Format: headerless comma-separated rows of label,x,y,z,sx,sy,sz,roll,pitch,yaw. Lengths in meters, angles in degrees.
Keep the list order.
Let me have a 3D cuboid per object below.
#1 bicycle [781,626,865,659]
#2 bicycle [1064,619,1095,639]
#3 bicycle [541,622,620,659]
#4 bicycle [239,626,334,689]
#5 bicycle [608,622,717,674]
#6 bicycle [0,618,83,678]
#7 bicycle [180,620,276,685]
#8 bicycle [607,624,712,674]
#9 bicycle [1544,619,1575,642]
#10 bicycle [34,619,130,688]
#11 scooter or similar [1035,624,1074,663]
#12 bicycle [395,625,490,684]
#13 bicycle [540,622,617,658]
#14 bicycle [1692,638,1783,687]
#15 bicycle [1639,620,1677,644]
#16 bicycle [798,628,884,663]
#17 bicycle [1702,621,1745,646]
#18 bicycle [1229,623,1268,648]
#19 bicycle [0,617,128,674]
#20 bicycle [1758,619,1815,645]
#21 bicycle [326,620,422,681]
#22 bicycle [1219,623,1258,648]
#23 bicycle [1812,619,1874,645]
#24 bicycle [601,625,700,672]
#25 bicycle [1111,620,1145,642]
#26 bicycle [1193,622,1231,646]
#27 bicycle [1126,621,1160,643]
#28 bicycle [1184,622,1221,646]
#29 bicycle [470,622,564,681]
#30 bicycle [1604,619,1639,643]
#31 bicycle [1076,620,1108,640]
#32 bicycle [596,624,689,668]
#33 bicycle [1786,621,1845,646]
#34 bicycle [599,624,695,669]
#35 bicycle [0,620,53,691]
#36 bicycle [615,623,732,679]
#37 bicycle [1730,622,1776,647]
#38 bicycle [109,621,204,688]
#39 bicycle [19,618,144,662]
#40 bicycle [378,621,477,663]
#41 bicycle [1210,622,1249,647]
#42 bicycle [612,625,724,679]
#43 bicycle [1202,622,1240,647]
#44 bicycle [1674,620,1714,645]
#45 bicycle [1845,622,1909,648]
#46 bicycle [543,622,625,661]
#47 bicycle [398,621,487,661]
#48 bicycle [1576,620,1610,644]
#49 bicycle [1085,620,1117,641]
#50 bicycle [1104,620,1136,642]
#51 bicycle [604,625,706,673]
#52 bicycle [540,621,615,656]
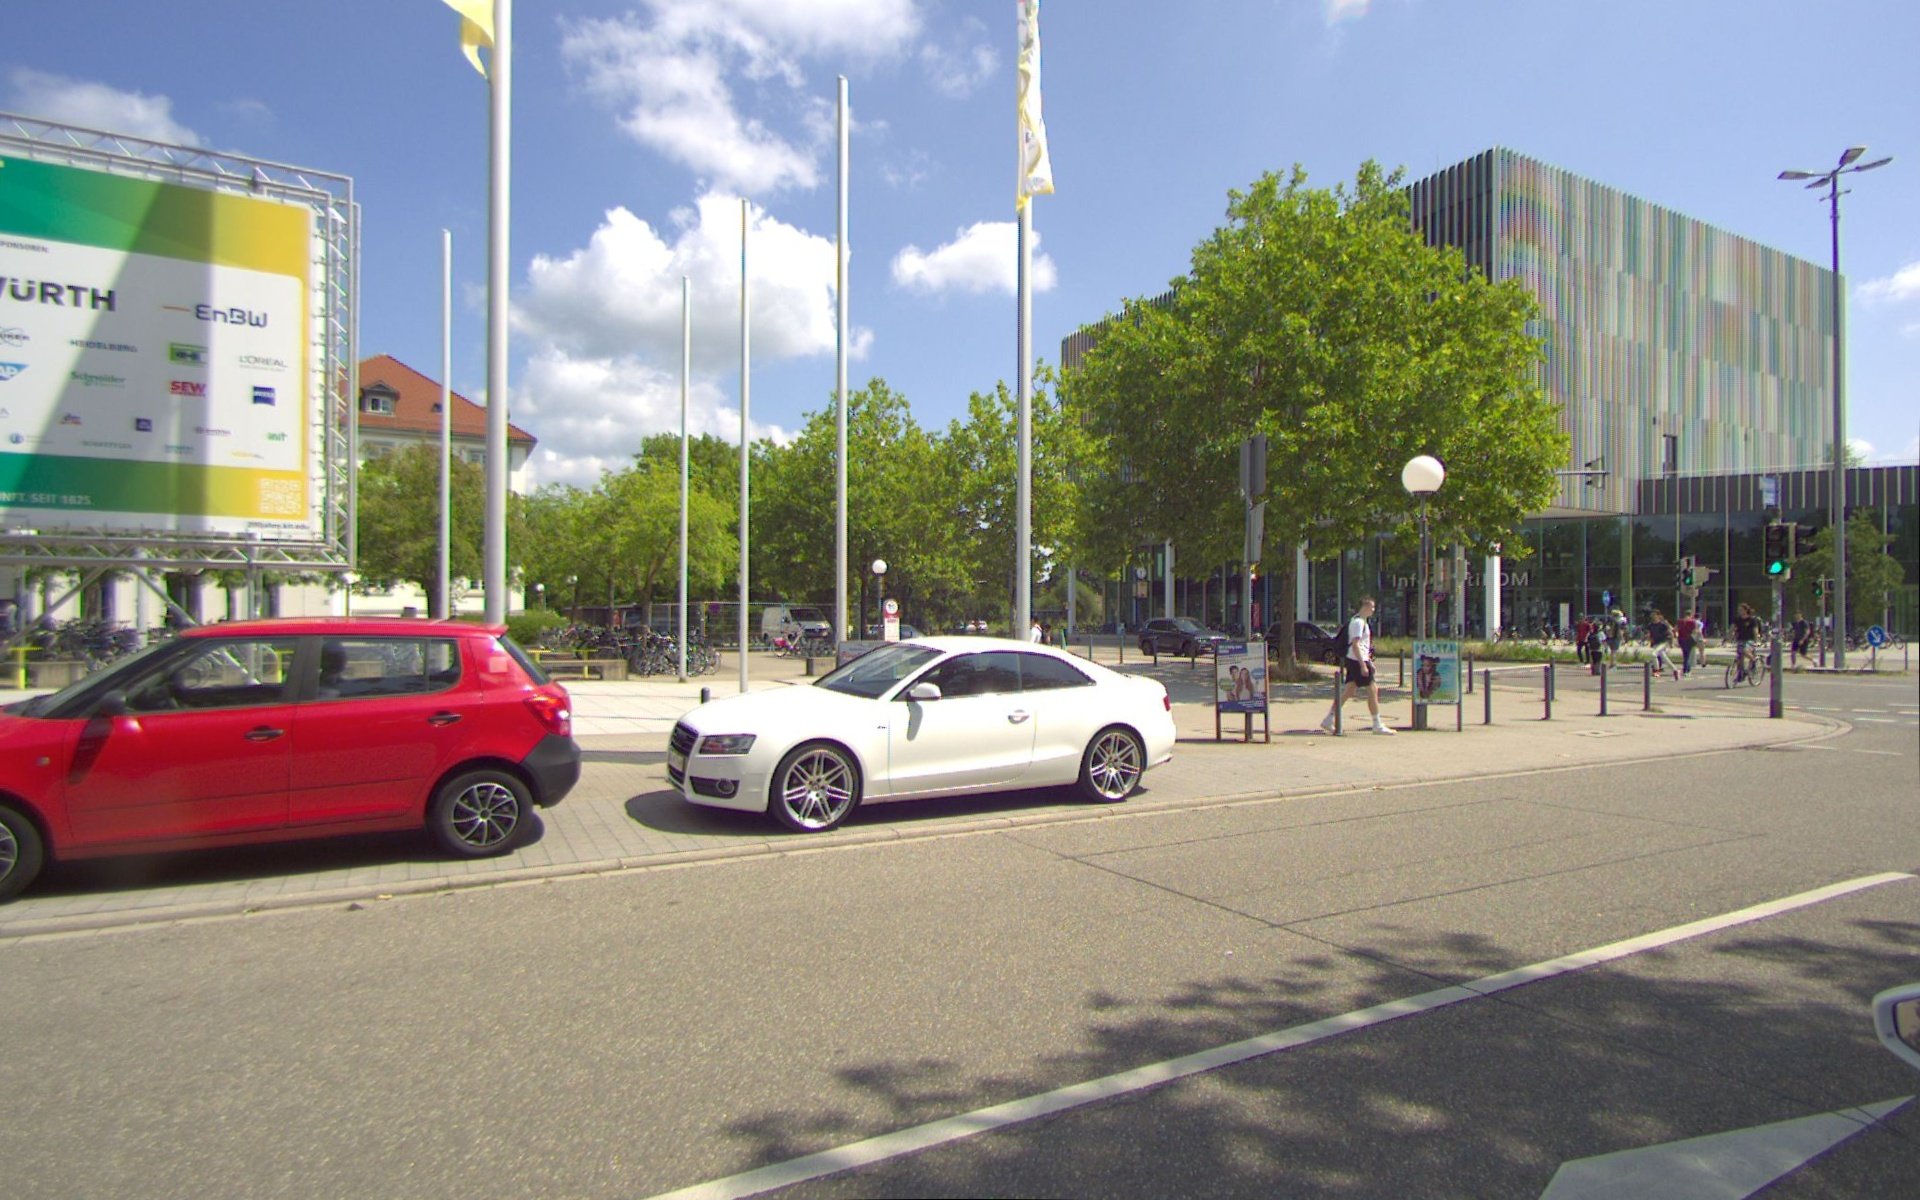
bicycle,-4.999,1.542,36.736,2.923,1.163,0.991,1,-1,-37
bicycle,11.320,2.757,94.860,2.915,1.863,0.955,1,-1,-29
bicycle,-15.149,1.613,40.133,2.910,1.430,1.059,1,-1,-24
bicycle,-16.713,1.379,24.895,2.906,1.430,1.143,0,-1,39
bicycle,-8.583,1.371,29.031,2.910,1.430,1.012,1,-1,-24
bicycle,-23.760,1.177,24.871,2.896,1.430,1.147,1,-1,-7
bicycle,-17.456,1.213,23.936,2.906,1.430,1.143,0,-1,39
bicycle,-8.981,1.448,30.030,2.910,1.430,1.012,1,-1,-24
bicycle,33.473,1.704,56.141,1.178,1.253,2.949,0,-1,24
bicycle,-19.819,1.164,22.646,2.906,1.430,1.143,0,-1,39
scooter or similar,3.048,1.388,32.527,0.486,1.212,1.725,0,-1,-23
bicycle,-13.572,1.382,26.299,2.906,1.430,1.143,0,-1,39
bicycle,-15.650,1.622,41.226,2.910,1.430,1.059,1,-1,-24
bicycle,18.845,1.501,24.349,1.995,1.137,0.770,0,-1,-19
bicycle,38.038,1.742,54.790,1.178,1.253,2.949,0,-1,24
bicycle,-4.193,1.588,35.597,2.923,1.163,0.991,1,-1,-37
bicycle,40.532,1.753,53.398,1.178,1.253,2.949,0,-1,24
bicycle,21.450,2.638,74.683,2.912,1.863,0.956,1,-1,-27
bicycle,-23.712,1.181,26.190,2.896,1.430,1.147,1,-1,-7
bicycle,42.722,1.646,51.992,1.177,1.253,2.952,1,-1,16
bicycle,-14.833,1.238,25.368,2.906,1.430,1.143,0,-1,39
bicycle,20.998,2.646,75.662,2.912,1.863,0.956,1,-1,-26
bicycle,44.970,1.615,51.207,1.177,1.253,2.952,1,-1,16
bicycle,-9.858,1.517,32.013,2.910,1.430,1.059,1,-1,-24
bicycle,14.784,2.745,88.371,2.915,1.863,0.955,1,-1,-29
bicycle,19.698,2.669,78.499,2.912,1.863,0.956,1,-1,-26
bicycle,15.782,2.731,86.460,2.915,1.863,0.982,1,-1,-29
bicycle,19.176,2.677,79.498,2.912,1.863,0.956,1,-1,-27
bicycle,-11.685,1.323,26.466,2.906,1.430,1.061,0,-1,39
bicycle,36.170,1.702,54.979,1.178,1.253,2.949,0,-1,25
bicycle,12.263,2.779,93.094,2.915,1.863,0.955,1,-1,-29
bicycle,-10.752,1.533,34.070,2.910,1.430,1.059,1,-1,-24
bicycle,43.931,1.696,51.641,1.177,1.253,2.952,1,-1,16
bicycle,-10.297,1.522,33.030,2.910,1.430,1.059,1,-1,-24
bicycle,-20.859,1.169,21.918,2.906,1.430,1.143,0,-1,39
bicycle,-7.728,1.365,27.093,2.910,1.438,1.012,1,-1,-24
bicycle,41.627,1.792,52.789,1.178,1.253,2.949,0,-1,24
bicycle,-18.712,1.217,23.360,2.906,1.430,1.143,0,-1,39
bicycle,-29.490,1.339,33.799,2.907,1.430,1.142,1,-1,-21
bicycle,-19.059,1.505,36.010,2.898,1.430,1.064,1,-1,-10
bicycle,20.556,2.653,76.588,2.912,1.863,0.956,1,-1,-26
bicycle,-8.152,1.436,28.064,2.910,1.435,1.012,1,-1,-24
bicycle,20.123,2.661,77.526,2.912,1.863,0.956,1,-1,-26
bicycle,39.376,1.728,53.935,1.178,1.253,2.949,0,-1,24
bicycle,46.163,1.758,50.626,1.177,1.253,2.952,1,-1,16
bicycle,-14.594,1.604,39.017,2.910,1.430,1.059,1,-1,-24
bicycle,-19.411,1.521,37.727,2.916,1.430,1.057,1,-1,-30
bicycle,34.984,1.748,55.536,1.178,1.253,2.949,0,-1,24
bicycle,12.883,2.771,91.949,2.915,1.863,0.955,1,-1,-29
bicycle,14.254,2.753,89.423,2.915,1.863,0.955,1,-1,-29
bicycle,-9.399,1.501,31.006,2.910,1.430,1.059,1,-1,-24
bicycle,-16.160,1.633,42.454,2.910,1.430,1.059,1,-1,-24
